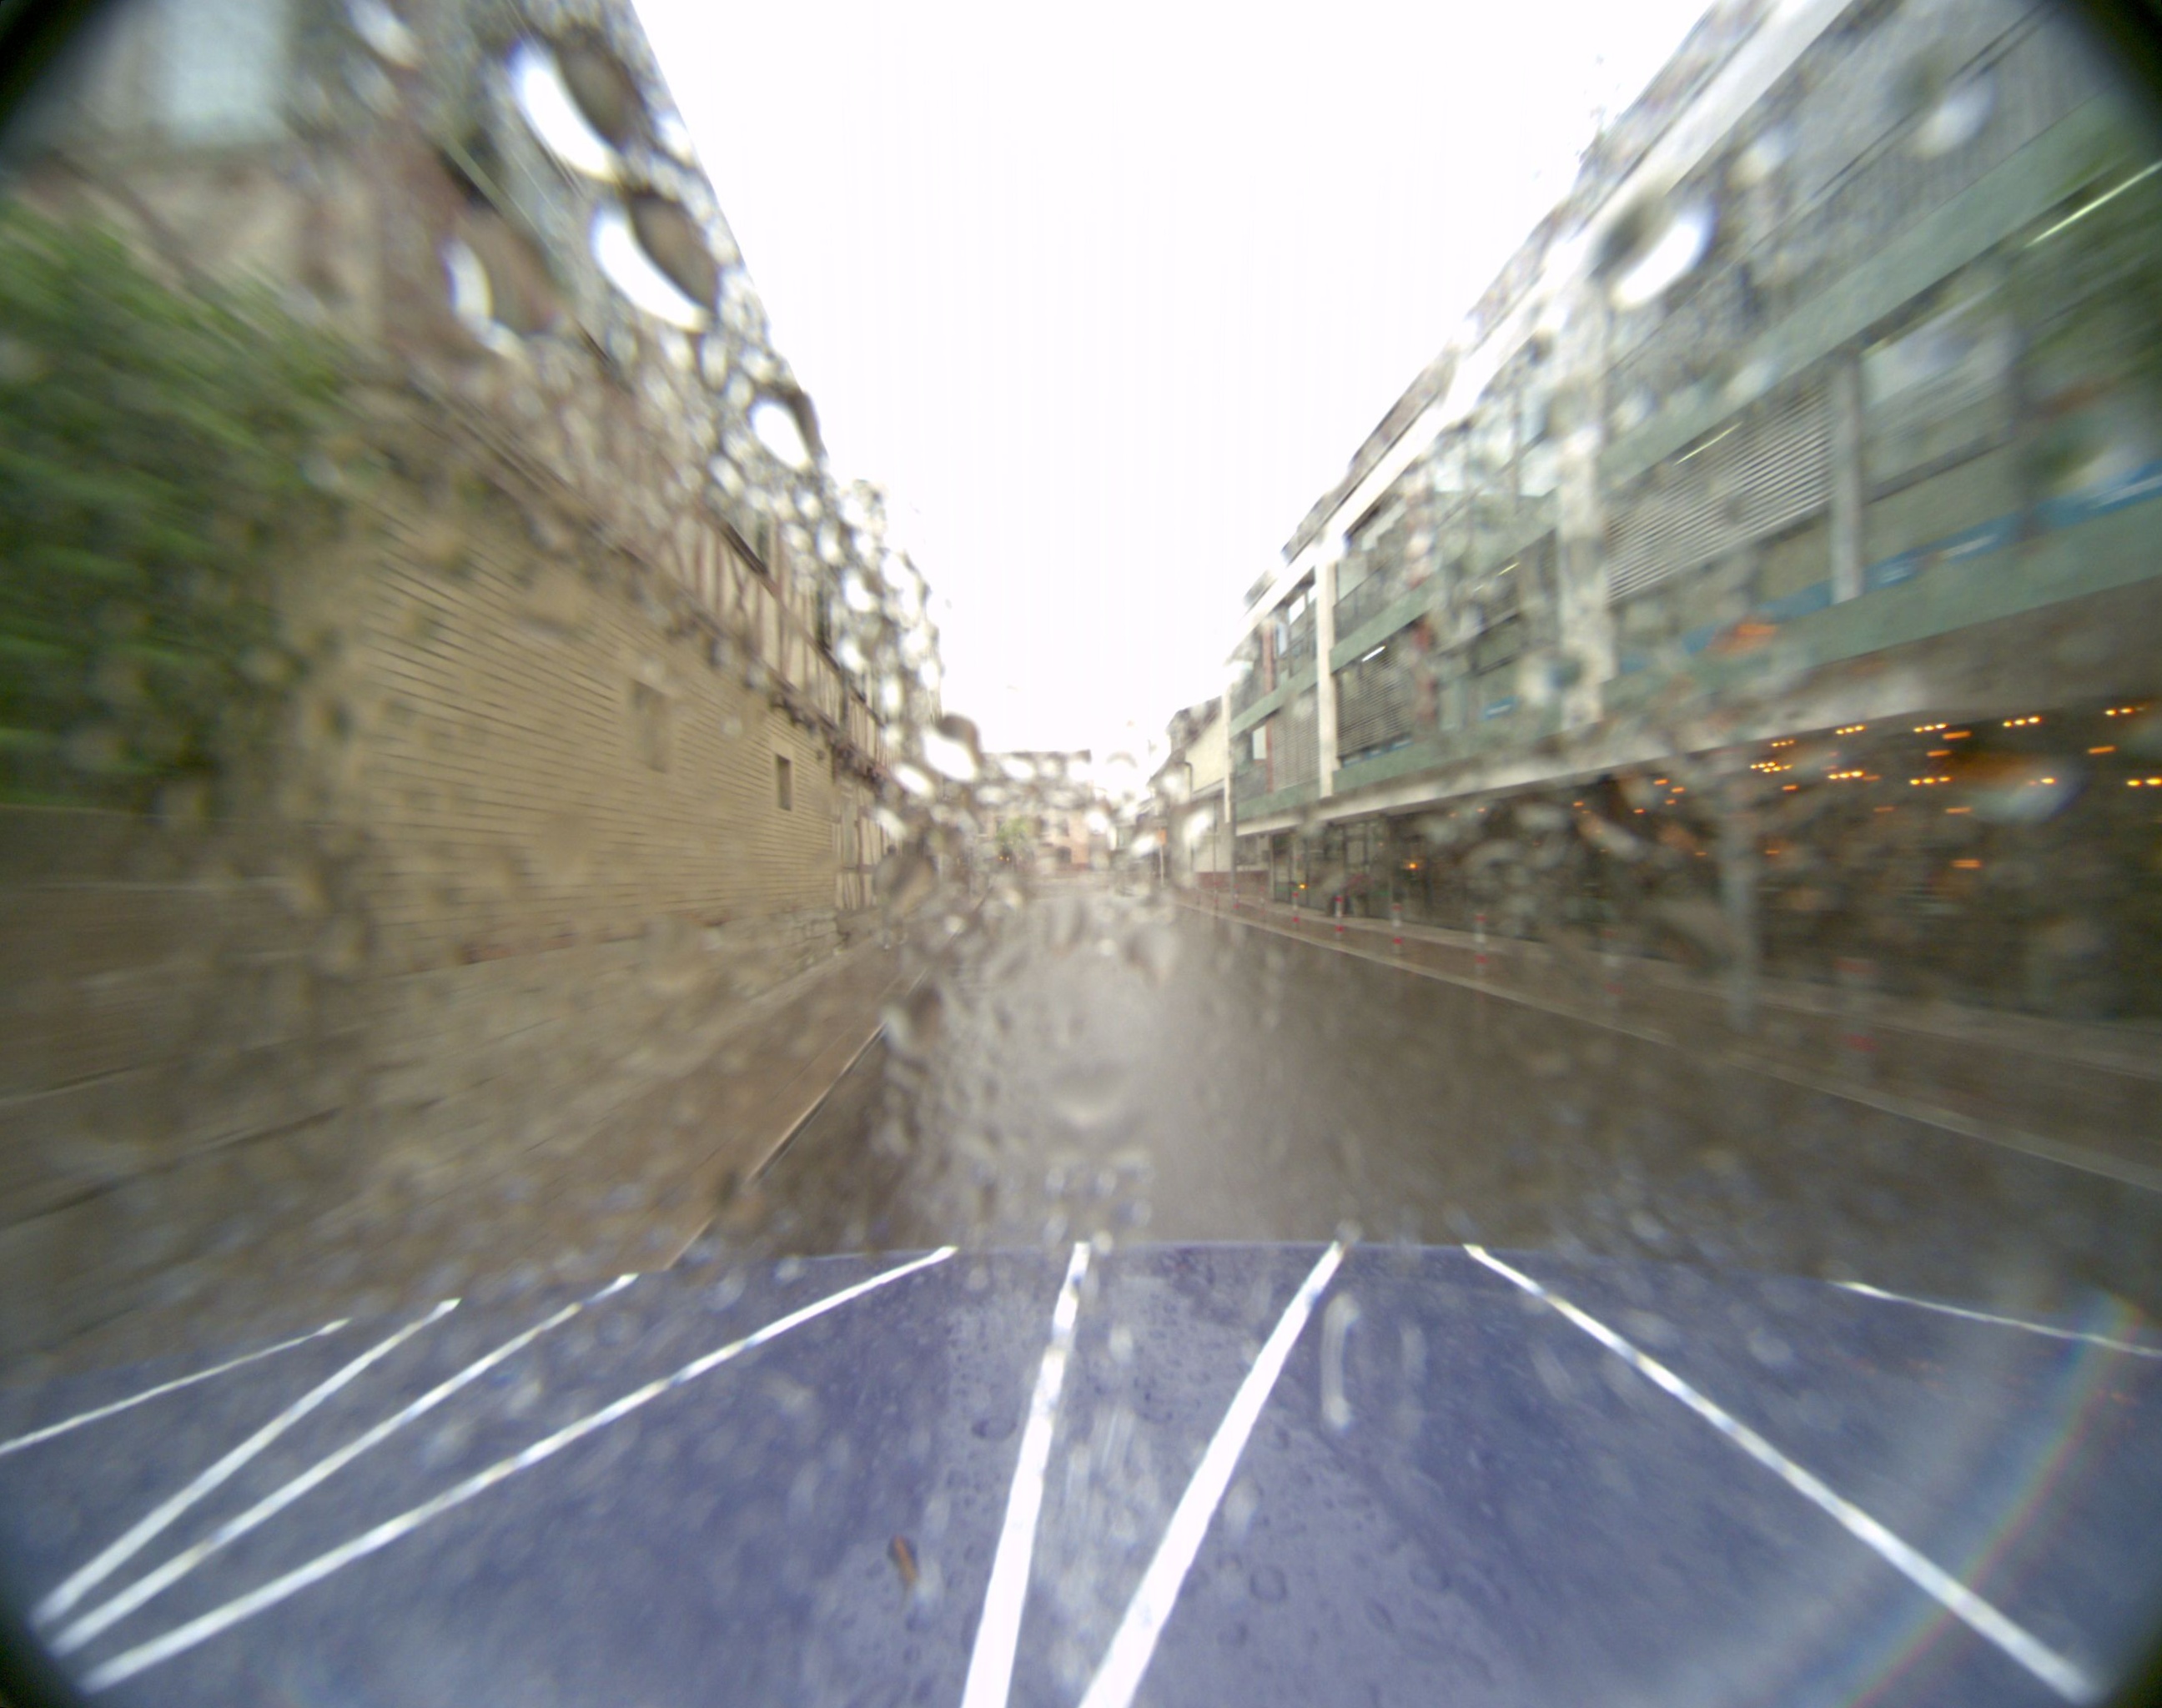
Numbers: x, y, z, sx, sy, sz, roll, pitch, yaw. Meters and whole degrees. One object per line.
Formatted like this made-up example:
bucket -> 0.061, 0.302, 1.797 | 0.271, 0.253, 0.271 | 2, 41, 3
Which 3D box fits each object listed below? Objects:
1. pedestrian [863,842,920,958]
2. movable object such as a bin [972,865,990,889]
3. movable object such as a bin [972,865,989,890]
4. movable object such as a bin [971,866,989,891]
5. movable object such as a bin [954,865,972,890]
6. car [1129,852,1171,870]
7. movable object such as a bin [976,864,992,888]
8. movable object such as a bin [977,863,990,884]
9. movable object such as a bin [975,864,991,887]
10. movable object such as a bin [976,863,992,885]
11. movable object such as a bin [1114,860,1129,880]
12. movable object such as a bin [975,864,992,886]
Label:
pedestrian -> -3.155, 0.752, 12.728 | 0.812, 1.874, 0.907 | 1, 0, -7
movable object such as a bin -> -4.605, 1.064, 35.066 | 0.768, 1.089, 0.581 | 0, 1, -5
movable object such as a bin -> -4.550, 1.071, 34.476 | 0.768, 1.089, 0.581 | 0, 1, -5
movable object such as a bin -> -4.481, 1.085, 33.741 | 0.768, 1.089, 0.581 | 0, 1, -5
movable object such as a bin -> -5.312, 1.060, 34.207 | 0.768, 1.089, 0.626 | 0, 1, -5
car -> 7.885, 0.810, 86.348 | 4.480, 2.002, 2.002 | 1, 0, 12
movable object such as a bin -> -4.629, 1.048, 36.282 | 0.768, 1.089, 0.581 | 0, 1, -5
movable object such as a bin -> -5.106, 1.016, 39.872 | 0.665, 1.089, 0.551 | 0, 1, -7
movable object such as a bin -> -4.742, 1.052, 36.883 | 0.768, 1.089, 0.581 | 0, 1, -5
movable object such as a bin -> -4.869, 1.019, 38.063 | 0.768, 1.089, 0.581 | 0, 1, -5
movable object such as a bin -> 2.290, 0.895, 43.426 | 0.689, 1.075, 0.760 | -3, 2, -7
movable object such as a bin -> -4.809, 1.044, 37.479 | 0.768, 1.089, 0.581 | 0, 1, -5
